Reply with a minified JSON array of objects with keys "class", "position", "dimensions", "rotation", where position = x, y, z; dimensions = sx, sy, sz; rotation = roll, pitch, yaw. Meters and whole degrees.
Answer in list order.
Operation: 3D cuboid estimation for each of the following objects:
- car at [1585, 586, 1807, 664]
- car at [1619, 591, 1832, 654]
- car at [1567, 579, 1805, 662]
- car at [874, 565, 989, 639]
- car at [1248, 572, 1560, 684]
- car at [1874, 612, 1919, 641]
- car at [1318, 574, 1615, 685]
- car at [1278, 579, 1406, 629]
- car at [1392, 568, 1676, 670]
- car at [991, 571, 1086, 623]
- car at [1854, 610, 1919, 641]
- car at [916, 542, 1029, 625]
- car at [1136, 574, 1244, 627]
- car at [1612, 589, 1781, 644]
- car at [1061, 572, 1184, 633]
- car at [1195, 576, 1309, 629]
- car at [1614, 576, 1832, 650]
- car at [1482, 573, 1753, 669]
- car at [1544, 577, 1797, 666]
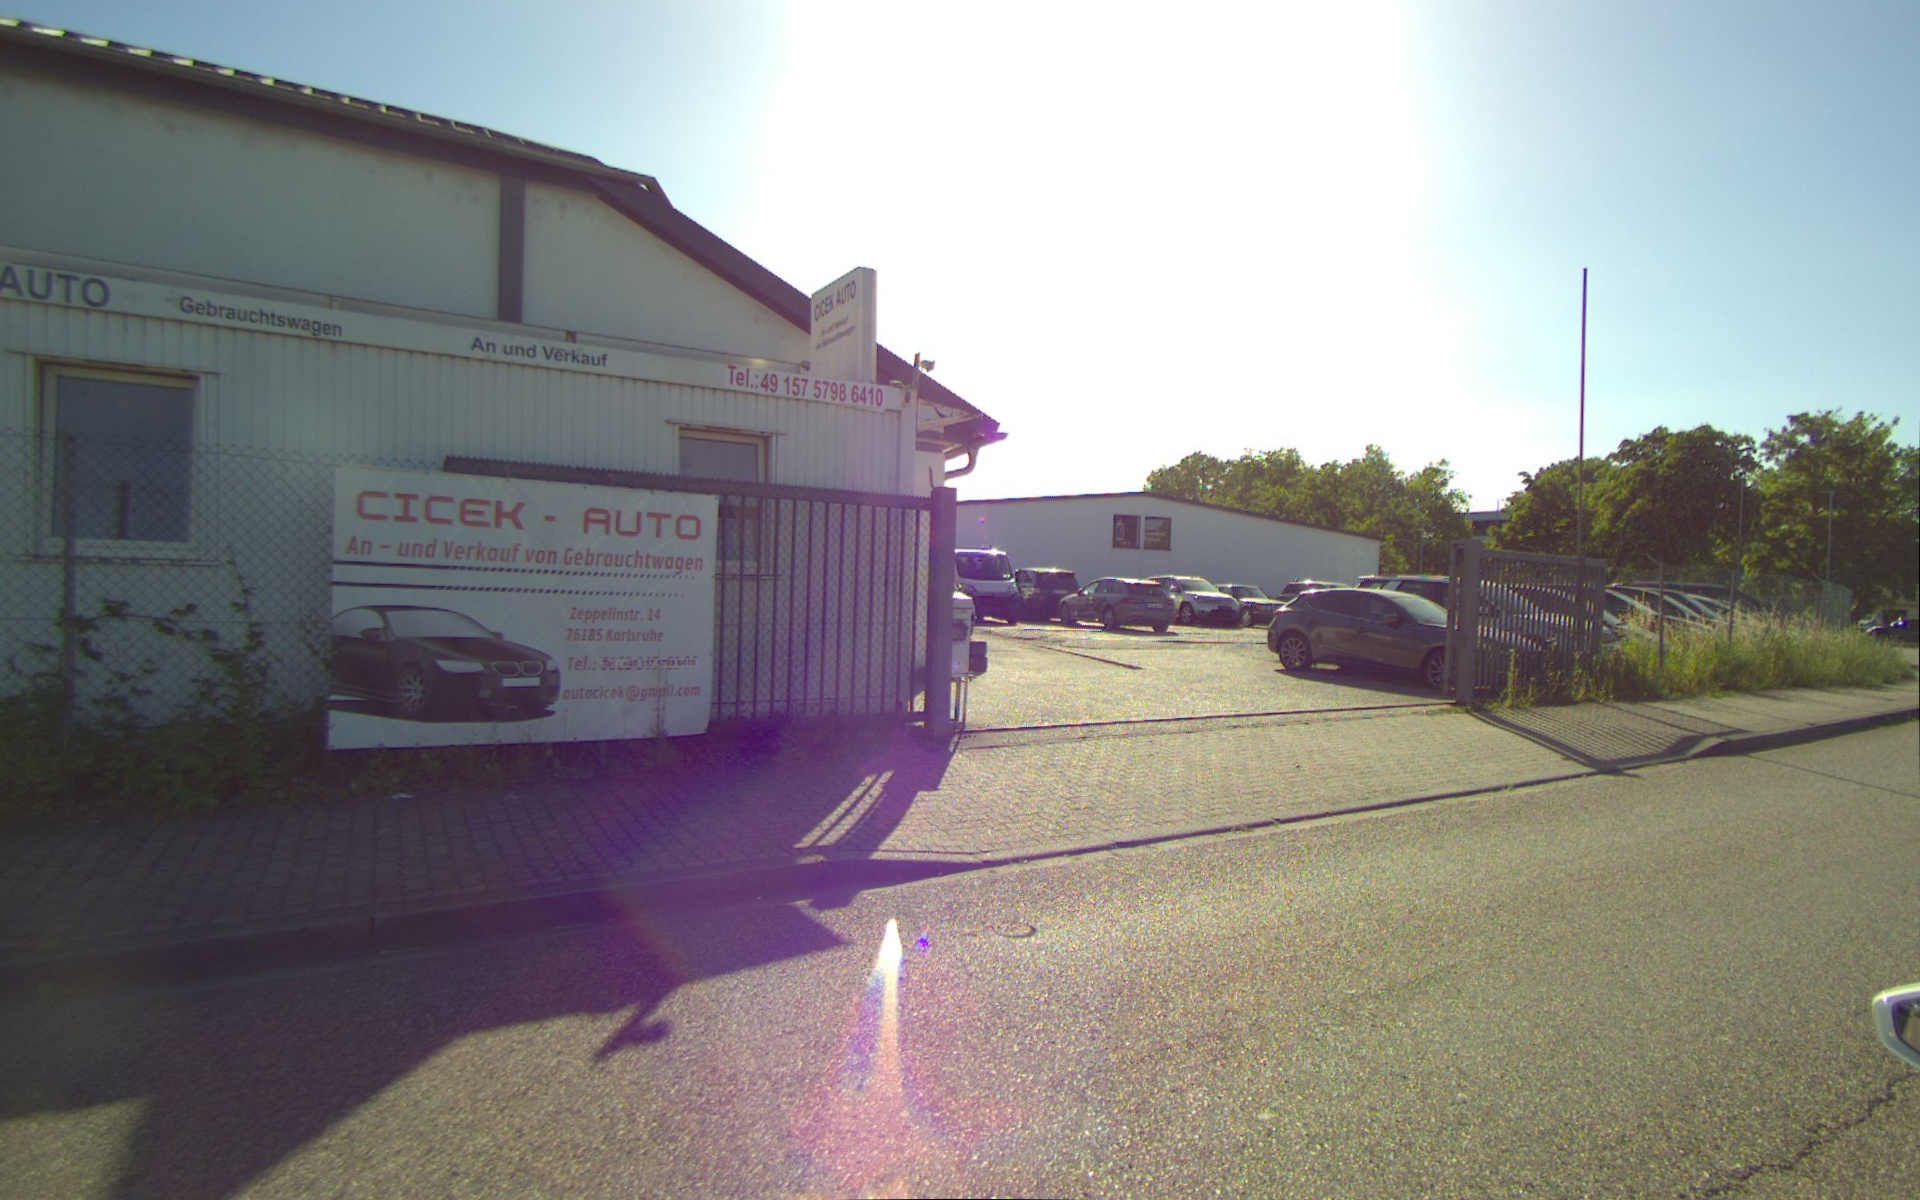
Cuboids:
[{"class":"car","position":[18.596,0.578,25.484],"dimensions":[4.340,1.671,1.830],"rotation":[3,2,42]},{"class":"car","position":[20.938,0.582,27.731],"dimensions":[4.320,1.456,1.839],"rotation":[3,1,25]},{"class":"car","position":[17.007,0.429,23.844],"dimensions":[4.325,1.671,1.837],"rotation":[3,1,30]},{"class":"car","position":[-0.800,-0.017,24.412],"dimensions":[1.810,1.583,4.389],"rotation":[2,1,-15]},{"class":"car","position":[7.072,0.362,16.467],"dimensions":[1.821,1.527,4.363],"rotation":[1,1,-33]},{"class":"car","position":[52.680,1.505,53.940],"dimensions":[1.976,1.504,4.888],"rotation":[1,1,-29]},{"class":"car","position":[8.920,0.432,18.026],"dimensions":[1.824,1.671,4.355],"rotation":[1,2,-38]},{"class":"car","position":[14.324,0.124,37.908],"dimensions":[1.817,1.671,4.371],"rotation":[1,1,-28]},{"class":"car","position":[10.895,0.286,19.337],"dimensions":[1.826,1.671,4.351],"rotation":[1,2,-40]},{"class":"car","position":[2.562,-0.164,33.839],"dimensions":[1.810,1.583,4.389],"rotation":[2,1,-15]},{"class":"car","position":[50.441,1.398,52.678],"dimensions":[1.976,1.445,4.888],"rotation":[1,1,-29]},{"class":"car","position":[0.252,-0.613,31.807],"dimensions":[2.075,2.302,5.745],"rotation":[2,2,-14]},{"class":"car","position":[7.946,-0.020,35.115],"dimensions":[1.810,1.671,4.389],"rotation":[2,1,-15]},{"class":"car","position":[25.419,0.544,34.795],"dimensions":[4.314,1.671,1.841],"rotation":[2,1,7]},{"class":"car","position":[4.540,0.013,28.831],"dimensions":[1.810,1.583,4.389],"rotation":[2,1,-15]},{"class":"car","position":[10.244,0.031,35.581],"dimensions":[1.810,1.671,4.389],"rotation":[2,1,-15]},{"class":"car","position":[22.375,0.330,29.719],"dimensions":[4.760,1.918,1.838],"rotation":[3,1,26]},{"class":"car","position":[13.449,0.356,20.741],"dimensions":[1.827,1.671,4.347],"rotation":[1,2,-43]},{"class":"car","position":[15.491,0.407,22.226],"dimensions":[4.325,1.671,1.837],"rotation":[3,1,30]}]
